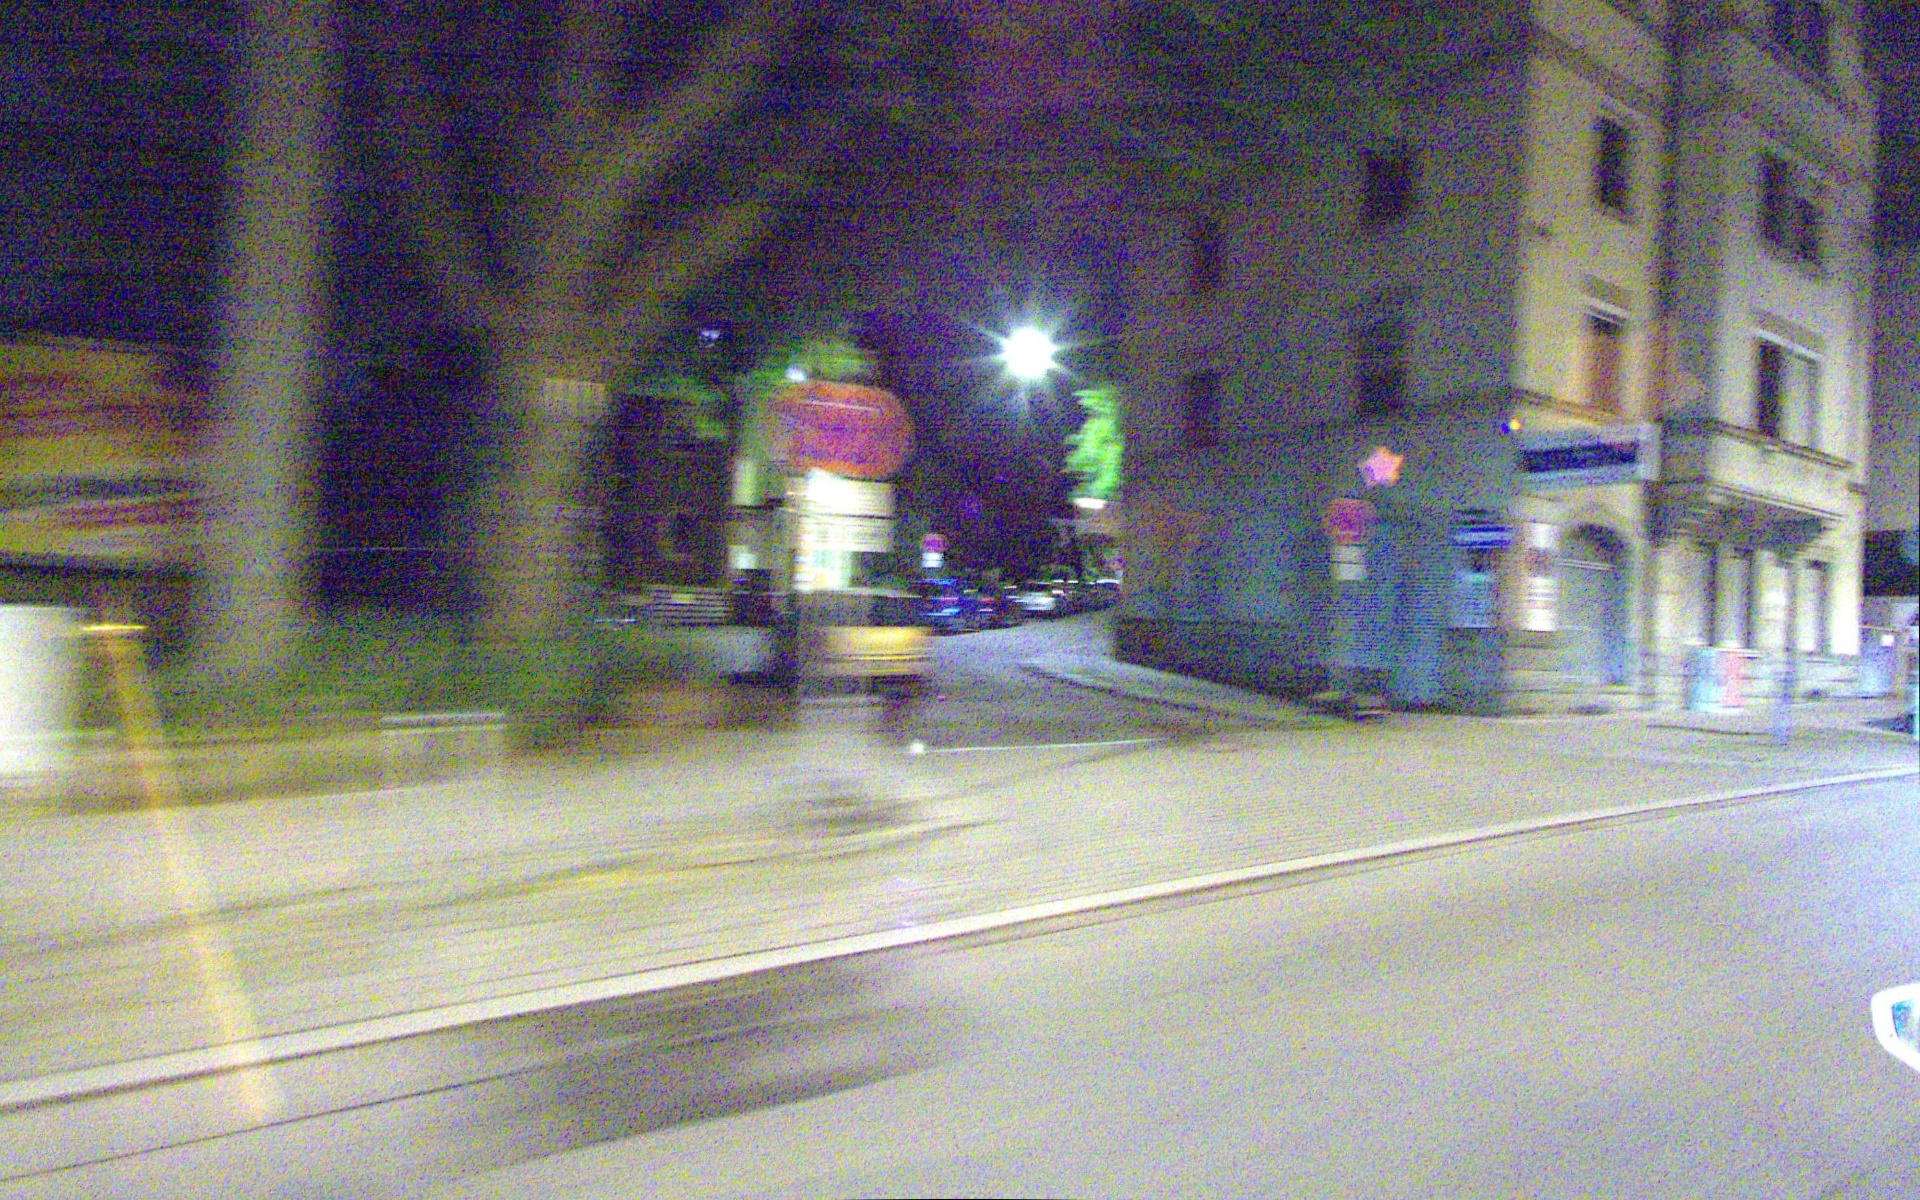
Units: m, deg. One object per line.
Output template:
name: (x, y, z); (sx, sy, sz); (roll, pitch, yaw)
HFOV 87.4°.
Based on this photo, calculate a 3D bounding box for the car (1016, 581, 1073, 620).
car: (3.644, -0.012, 42.786); (1.733, 1.501, 3.712); (2, 2, 15)

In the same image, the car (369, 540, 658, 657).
car: (-6.904, -0.018, 15.882); (3.921, 1.628, 1.753); (2, 2, -21)

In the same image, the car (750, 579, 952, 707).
car: (-1.710, 0.511, 14.426); (1.738, 1.444, 3.976); (2, 2, -24)

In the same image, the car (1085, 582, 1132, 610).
car: (8.370, -0.254, 56.477); (1.734, 1.501, 3.709); (2, 2, 22)

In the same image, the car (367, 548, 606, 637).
car: (-9.237, -0.118, 19.987); (4.087, 1.564, 1.843); (2, 1, -20)

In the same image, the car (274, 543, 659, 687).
car: (-6.178, 0.180, 12.838); (4.139, 1.559, 1.747); (2, 3, -31)

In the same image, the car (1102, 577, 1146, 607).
car: (9.849, -0.453, 60.090); (1.778, 1.656, 3.622); (2, 0, 22)

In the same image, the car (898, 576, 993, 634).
car: (-0.371, 0.143, 29.683); (1.697, 1.581, 3.382); (2, 0, 20)

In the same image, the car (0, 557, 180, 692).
car: (-10.364, 0.211, 10.332); (3.523, 1.334, 1.547); (2, 1, -32)

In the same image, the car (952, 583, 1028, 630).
car: (1.060, 0.175, 33.703); (1.541, 1.471, 3.442); (2, 2, 20)

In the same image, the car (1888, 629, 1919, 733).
car: (16.134, 1.237, 15.344); (4.299, 1.504, 1.804); (1, 0, -32)

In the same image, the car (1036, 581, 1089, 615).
car: (4.864, -0.141, 47.304); (1.733, 1.501, 3.711); (2, 2, 18)

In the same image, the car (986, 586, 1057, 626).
car: (2.332, 0.185, 37.336); (1.618, 1.358, 3.724); (2, 2, 20)

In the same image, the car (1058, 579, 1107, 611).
car: (6.278, -0.282, 51.248); (1.733, 1.501, 3.711); (2, 2, 19)
